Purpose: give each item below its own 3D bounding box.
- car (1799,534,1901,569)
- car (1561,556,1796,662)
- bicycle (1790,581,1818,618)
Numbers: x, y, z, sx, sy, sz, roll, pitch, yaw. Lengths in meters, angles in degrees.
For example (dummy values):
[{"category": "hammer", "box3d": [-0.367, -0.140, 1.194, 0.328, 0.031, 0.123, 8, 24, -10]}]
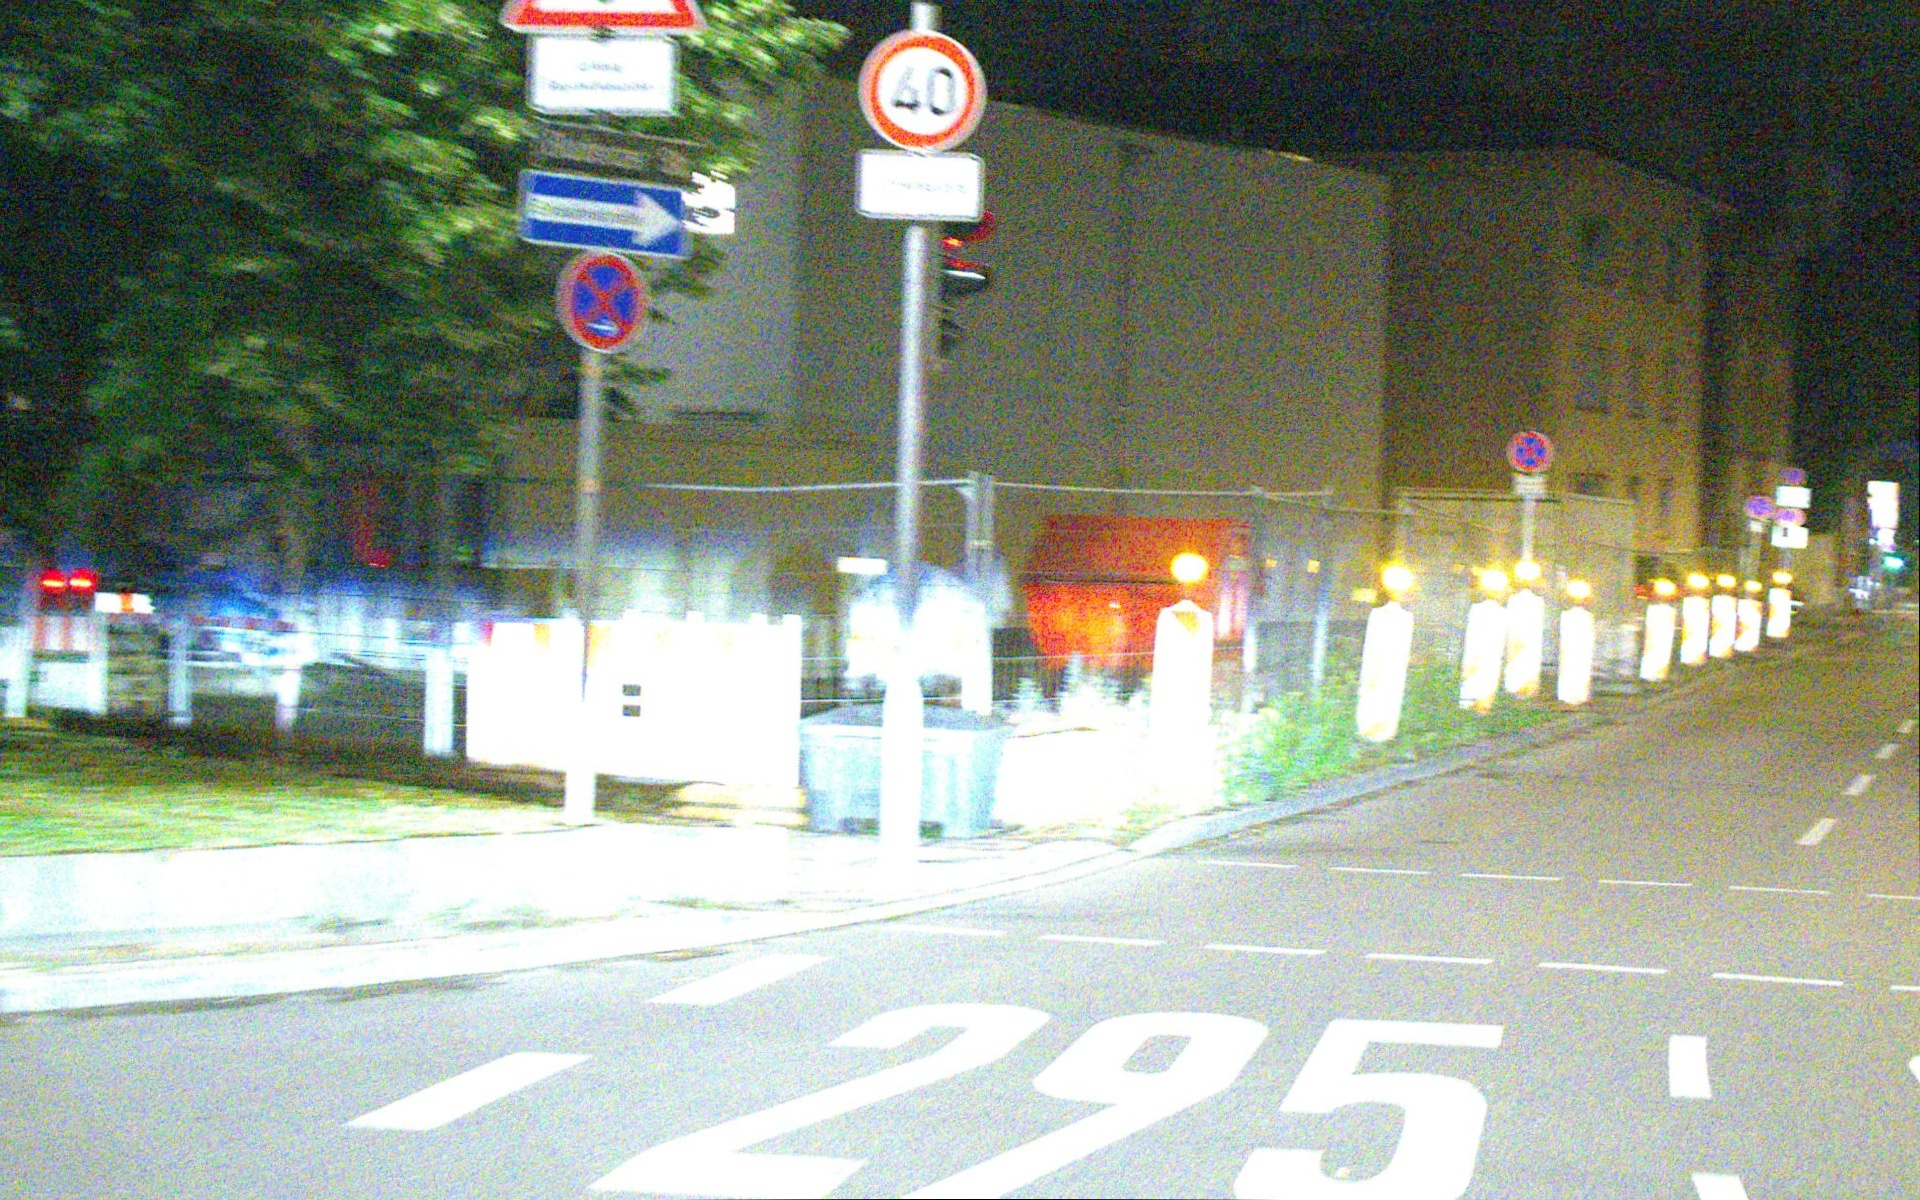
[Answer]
[{"category": "car", "box3d": [41.518, -2.244, 160.313, 4.443, 1.444, 1.998, 2, 1, 17]}, {"category": "car", "box3d": [13.920, 0.163, 66.657, 3.994, 1.882, 1.905, 3, 1, 31]}, {"category": "bicycle", "box3d": [24.383, -0.015, 99.356, 0.620, 1.048, 1.720, 2, 1, 18]}]
